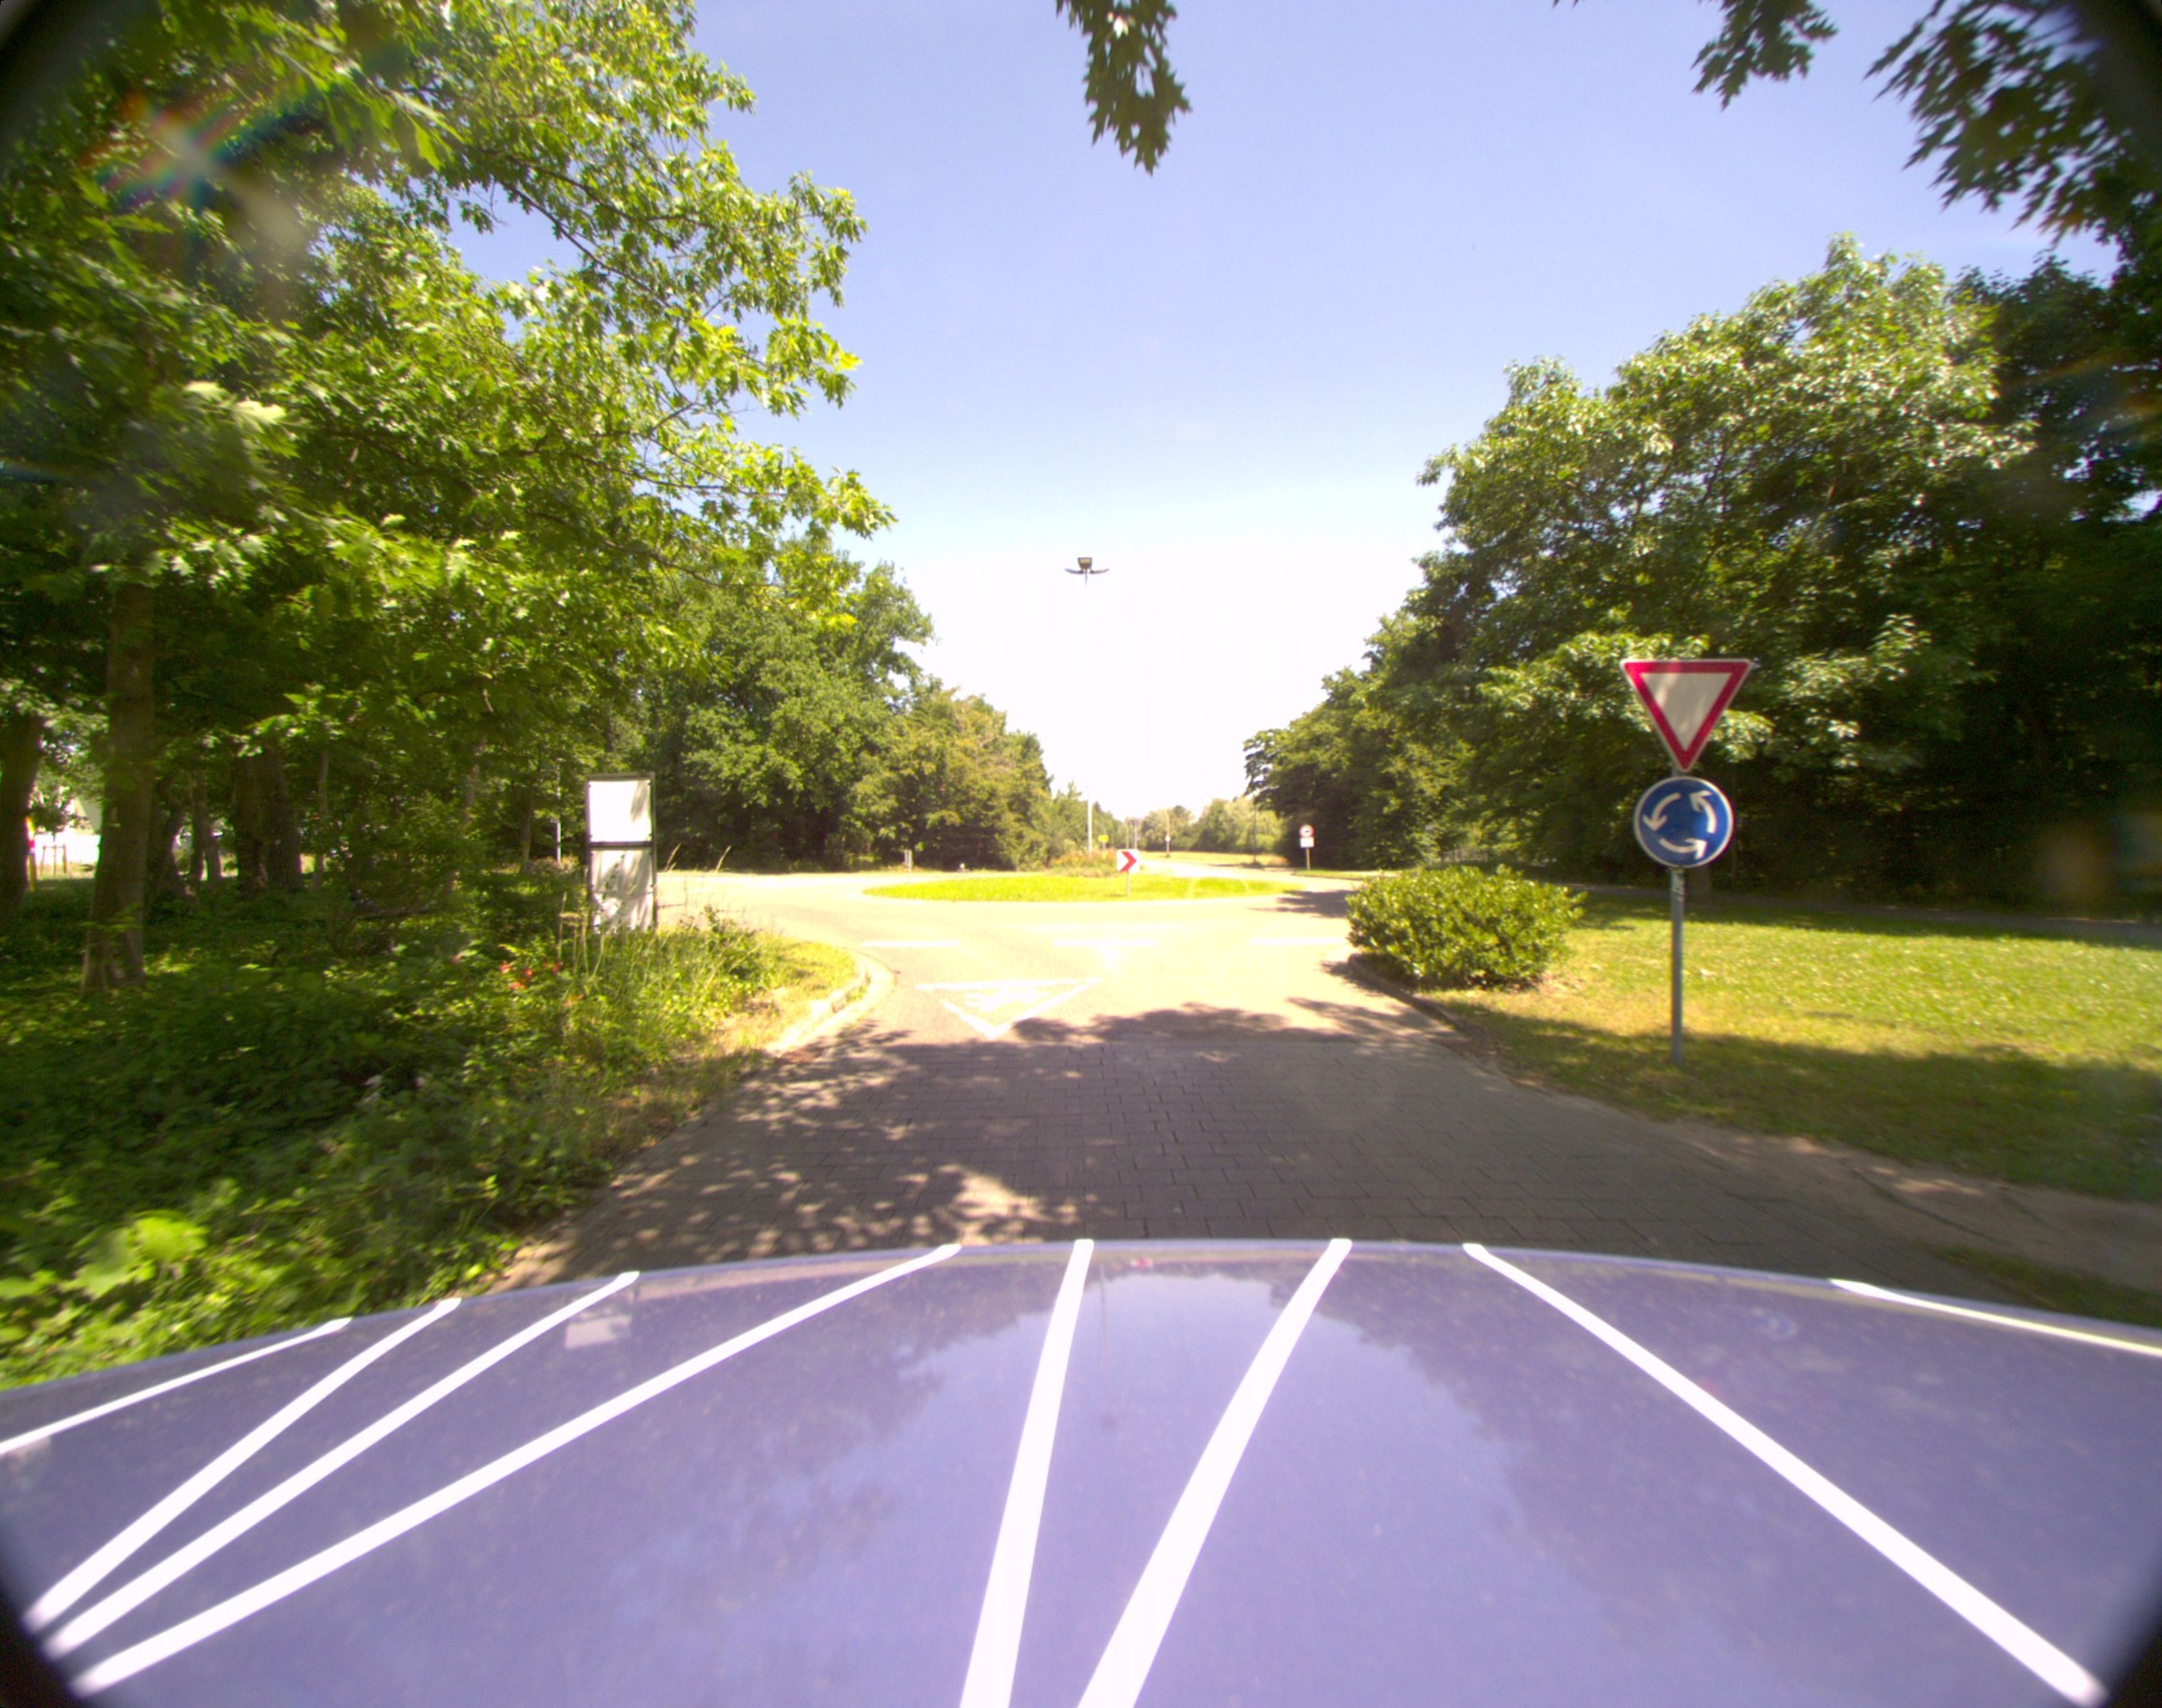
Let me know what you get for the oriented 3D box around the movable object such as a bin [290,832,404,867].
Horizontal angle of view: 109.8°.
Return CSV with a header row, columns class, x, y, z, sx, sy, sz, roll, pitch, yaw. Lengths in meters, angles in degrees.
class,x,y,z,sx,sy,sz,roll,pitch,yaw
movable object such as a bin,-48.674,-0.318,50.465,5.234,2.263,2.524,0,1,3
